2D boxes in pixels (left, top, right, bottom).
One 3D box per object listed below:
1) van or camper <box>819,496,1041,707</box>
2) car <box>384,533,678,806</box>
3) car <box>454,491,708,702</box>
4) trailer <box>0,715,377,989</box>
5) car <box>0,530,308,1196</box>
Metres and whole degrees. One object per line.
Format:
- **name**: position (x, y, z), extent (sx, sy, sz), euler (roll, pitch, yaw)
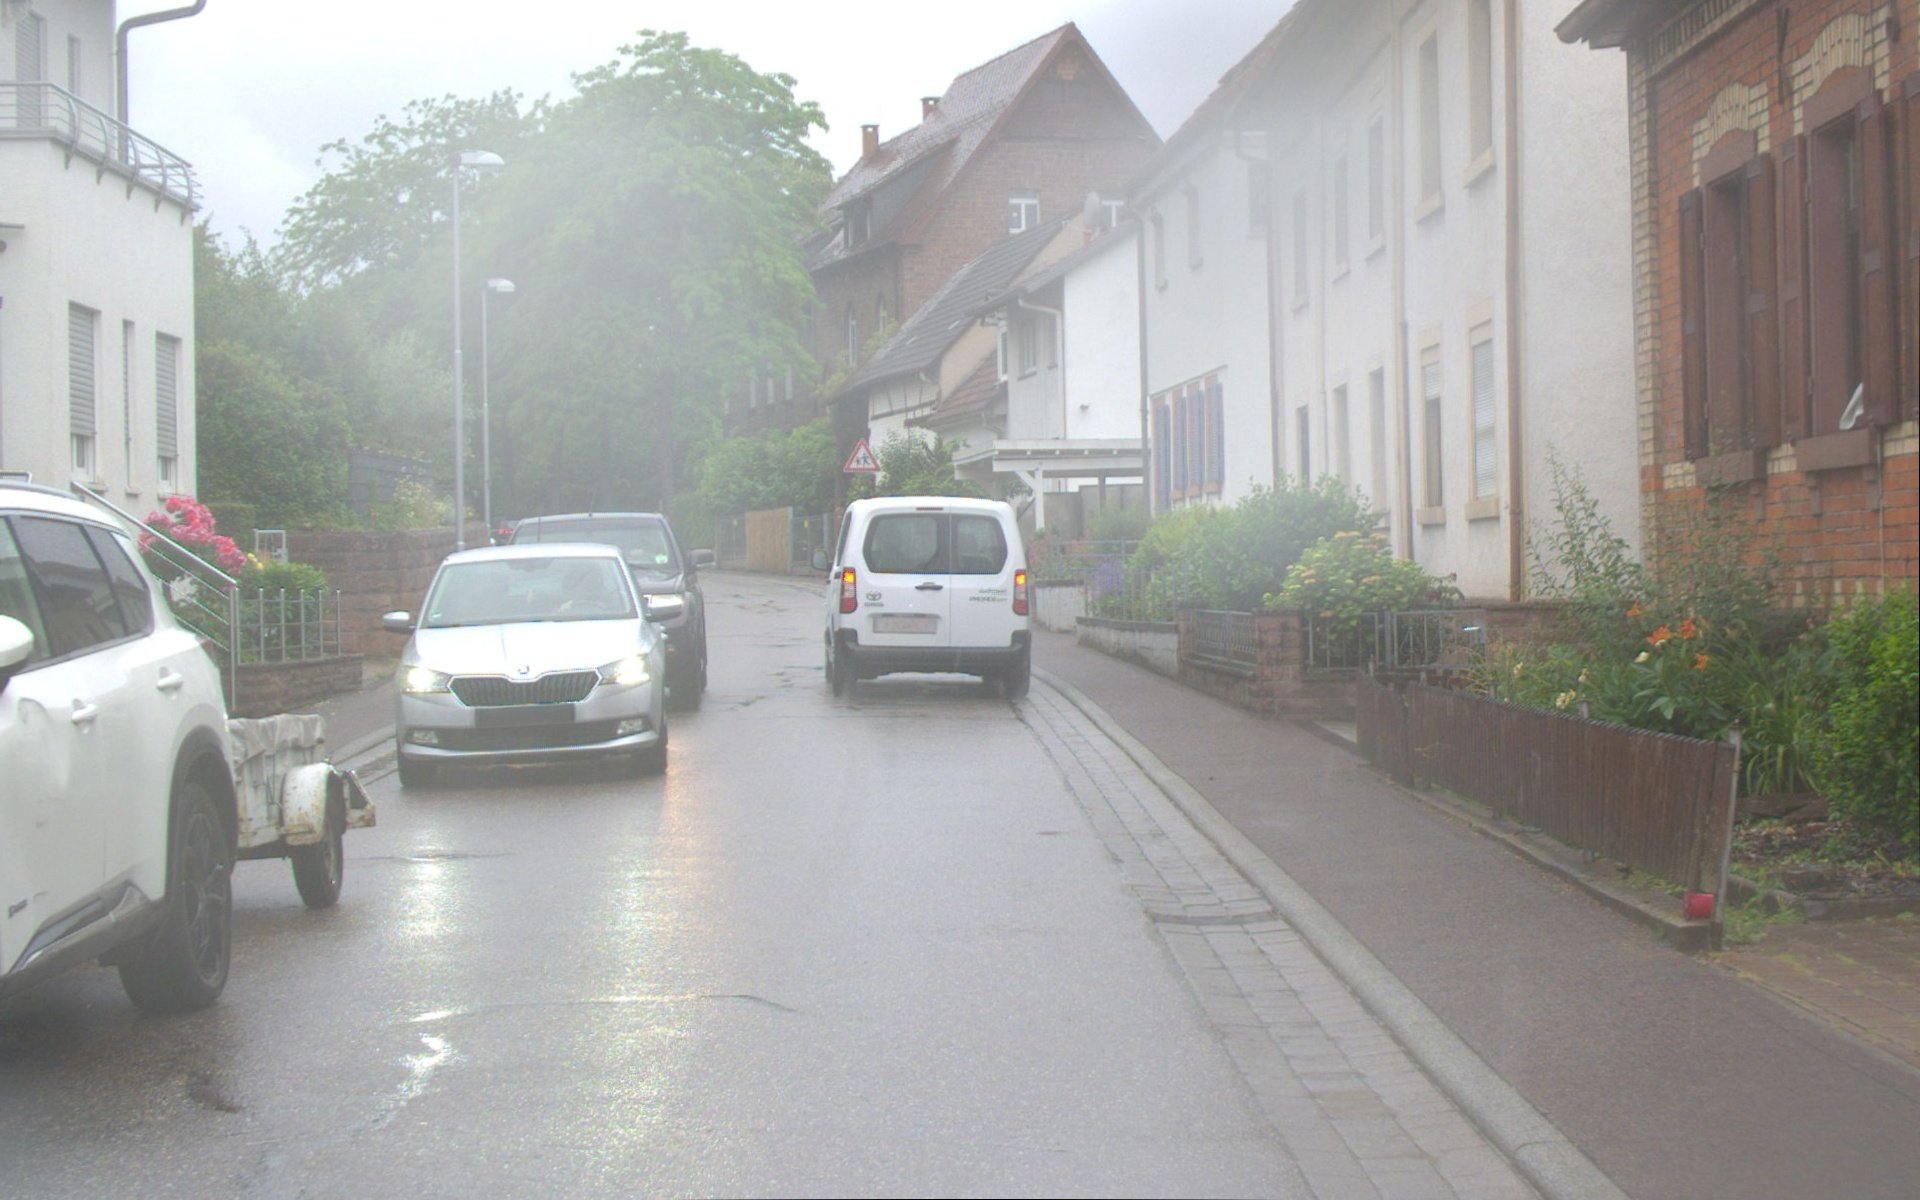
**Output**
- **van or camper**: position (-0.276, -0.043, 32.205), extent (1.943, 1.844, 4.000), euler (0, 2, 0)
- **car**: position (-2.729, 0.371, 22.365), extent (1.688, 1.559, 3.935), euler (-2, 1, -5)
- **car**: position (-3.275, -0.105, 30.533), extent (1.993, 1.671, 4.784), euler (-2, 2, -4)
- **trailer**: position (-3.272, 0.955, 13.550), extent (1.483, 0.826, 2.676), euler (-3, 0, -1)
- **car**: position (-3.238, 0.675, 9.828), extent (1.748, 1.631, 4.418), euler (-3, 1, 1)
